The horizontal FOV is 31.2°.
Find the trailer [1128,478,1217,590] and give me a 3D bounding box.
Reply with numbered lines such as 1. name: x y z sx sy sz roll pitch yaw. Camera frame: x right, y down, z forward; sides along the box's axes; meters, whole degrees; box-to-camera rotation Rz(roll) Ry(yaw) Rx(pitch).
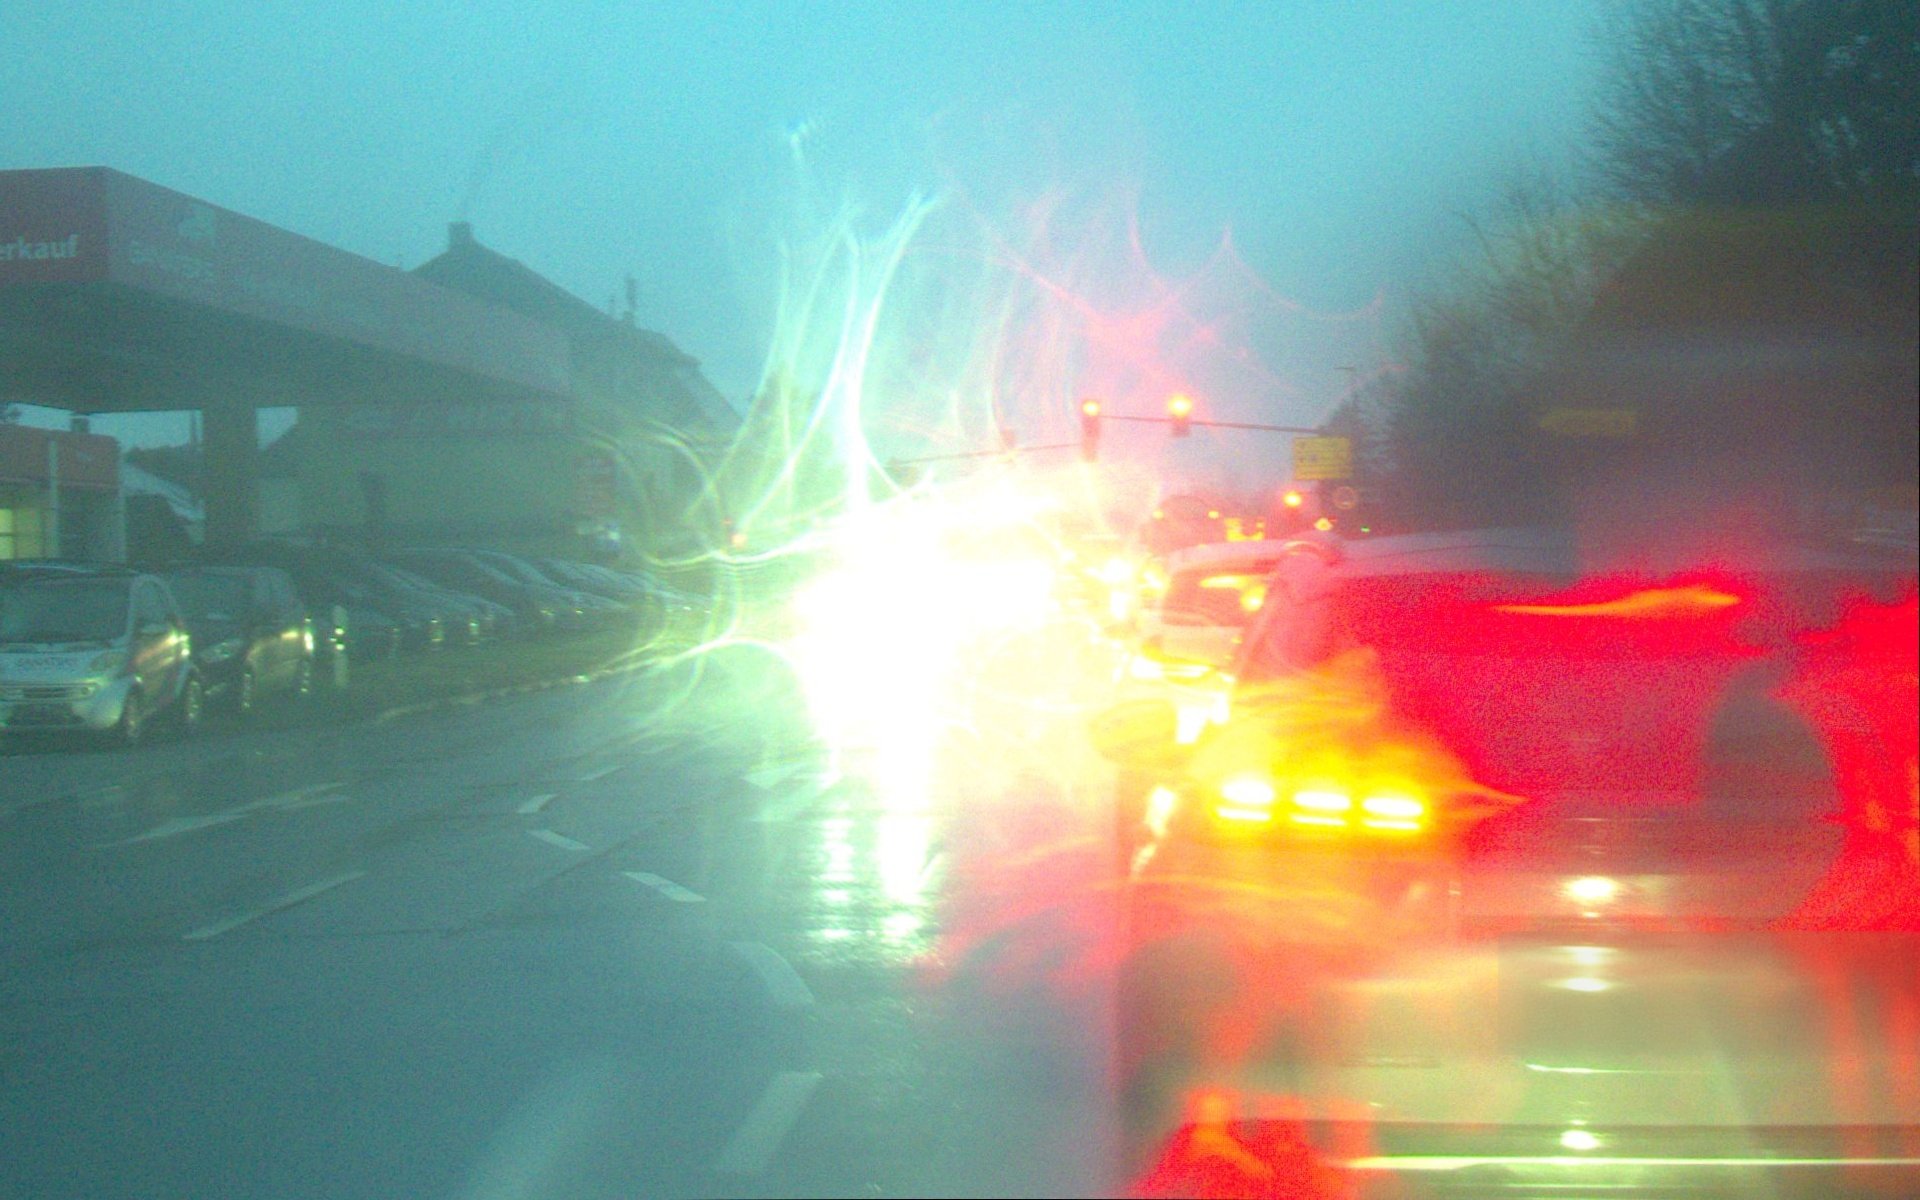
1. trailer: 6.441 -1.977 105.397 2.488 3.230 10.868 0 0 3

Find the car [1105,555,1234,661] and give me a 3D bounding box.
1. car: 2.847 0.081 46.766 1.641 1.362 4.768 -1 0 4

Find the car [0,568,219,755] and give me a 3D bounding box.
1. car: -7.901 0.525 31.192 1.518 1.537 3.015 -2 1 3

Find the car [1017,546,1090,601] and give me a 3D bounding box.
1. car: 2.809 -0.801 104.040 2.047 1.567 4.703 -2 0 0

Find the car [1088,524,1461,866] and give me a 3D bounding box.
1. car: 1.604 0.409 18.308 1.708 1.570 4.464 -1 1 4

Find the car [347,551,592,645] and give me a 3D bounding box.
1. car: -9.337 -0.061 65.642 4.277 1.657 2.000 1 1 4

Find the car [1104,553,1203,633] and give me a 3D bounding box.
1. car: 3.423 -0.145 60.758 1.653 1.331 4.272 -1 1 3

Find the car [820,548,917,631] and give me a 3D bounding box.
1. car: -1.807 -0.235 69.236 1.603 1.529 4.000 -3 1 2

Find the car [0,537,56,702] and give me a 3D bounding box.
1. car: -11.534 0.220 35.033 4.048 1.644 1.941 -1 1 5

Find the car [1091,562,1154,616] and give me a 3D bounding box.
1. car: 4.450 -0.308 94.153 1.662 1.434 4.381 0 0 3

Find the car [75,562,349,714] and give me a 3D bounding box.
1. car: -7.595 0.350 35.234 1.683 1.416 3.740 -1 1 5

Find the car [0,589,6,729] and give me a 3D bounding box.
1. car: -11.140 0.572 32.212 3.858 1.341 1.840 0 1 3

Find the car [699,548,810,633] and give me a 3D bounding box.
1. car: -4.684 -0.243 78.971 1.971 1.824 4.512 -2 1 3

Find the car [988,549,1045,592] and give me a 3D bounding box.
1. car: 2.447 -1.288 147.337 1.994 1.740 3.999 -3 0 6

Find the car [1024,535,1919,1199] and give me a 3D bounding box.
1. car: 1.002 0.645 6.820 1.565 1.524 4.006 -1 1 4
